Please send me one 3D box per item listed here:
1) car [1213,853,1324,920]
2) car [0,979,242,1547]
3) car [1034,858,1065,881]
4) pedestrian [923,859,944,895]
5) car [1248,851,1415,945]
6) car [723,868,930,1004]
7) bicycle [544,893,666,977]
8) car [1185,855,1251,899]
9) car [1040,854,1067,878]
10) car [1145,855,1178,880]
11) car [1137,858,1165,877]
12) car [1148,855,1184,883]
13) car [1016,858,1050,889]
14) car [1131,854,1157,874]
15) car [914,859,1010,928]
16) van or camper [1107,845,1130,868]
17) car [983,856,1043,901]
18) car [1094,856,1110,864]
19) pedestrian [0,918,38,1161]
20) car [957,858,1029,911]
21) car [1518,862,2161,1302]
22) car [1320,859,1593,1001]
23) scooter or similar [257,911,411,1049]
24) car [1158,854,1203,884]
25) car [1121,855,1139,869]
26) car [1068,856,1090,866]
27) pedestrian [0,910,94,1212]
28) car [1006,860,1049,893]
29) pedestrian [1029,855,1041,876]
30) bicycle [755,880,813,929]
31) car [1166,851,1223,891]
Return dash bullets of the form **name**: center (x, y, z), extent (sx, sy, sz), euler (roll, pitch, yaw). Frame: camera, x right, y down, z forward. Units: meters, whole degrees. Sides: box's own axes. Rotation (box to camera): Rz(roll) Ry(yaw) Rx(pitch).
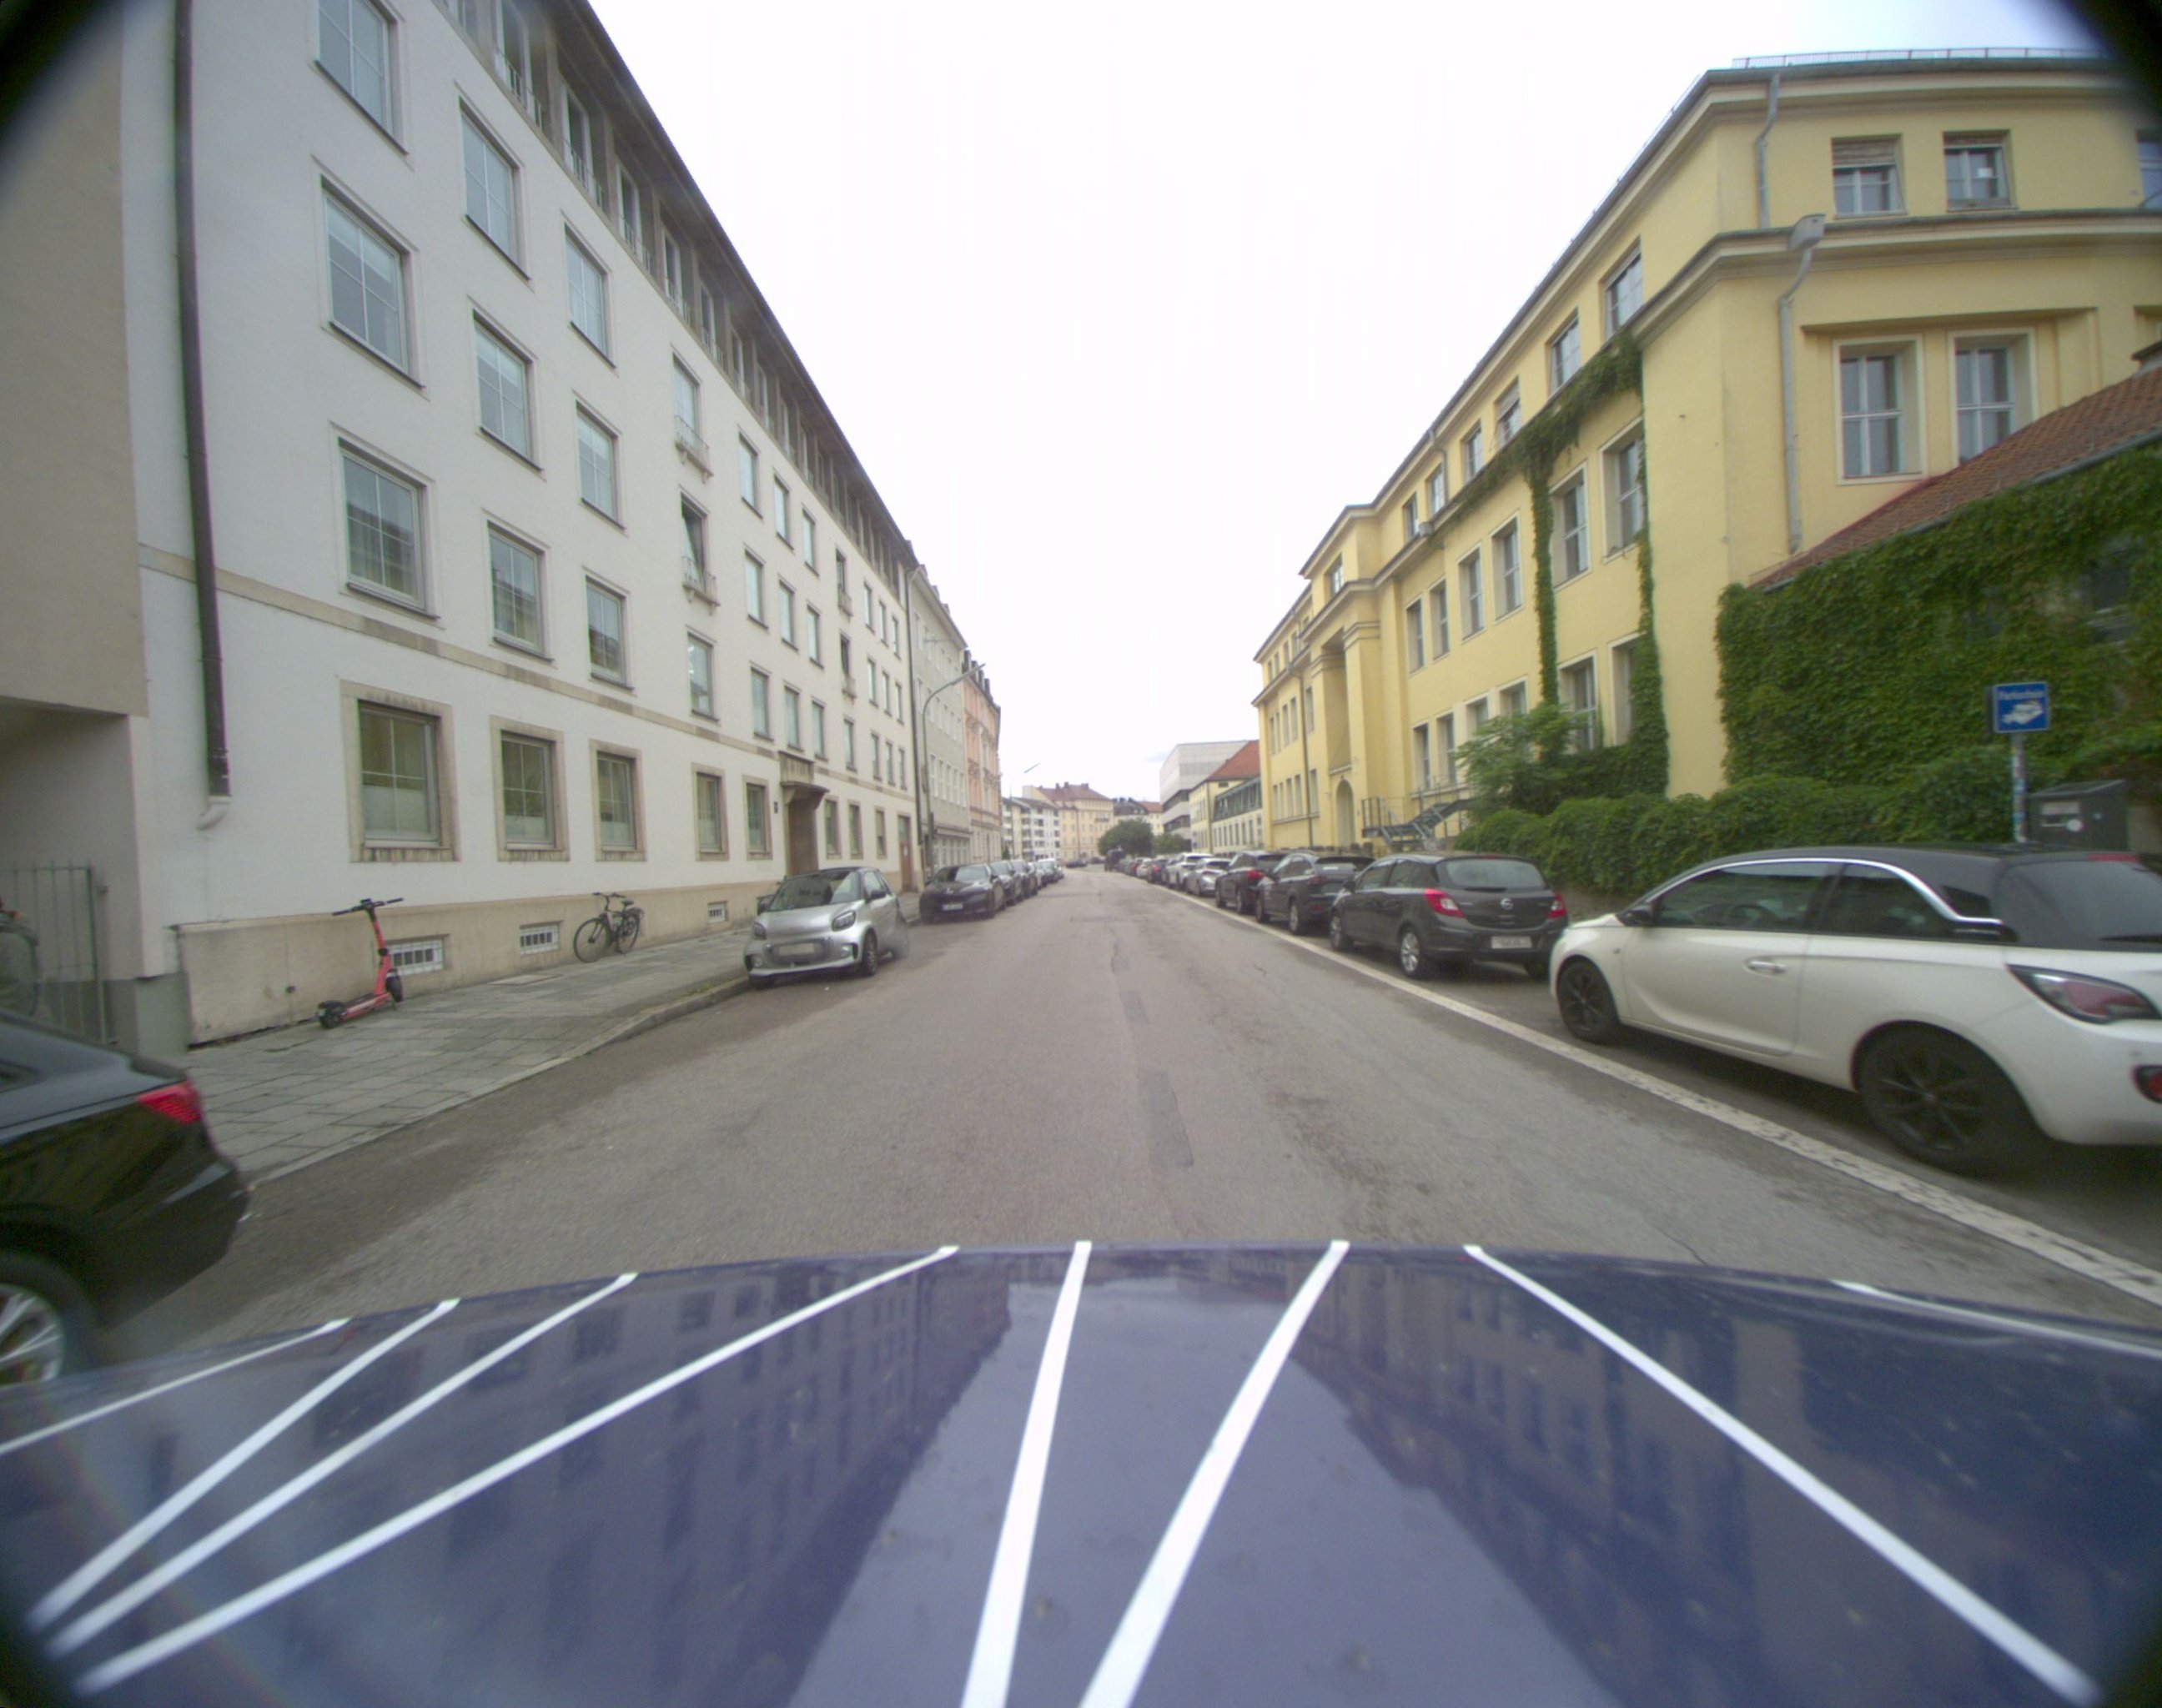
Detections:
- **car**: center (4.714, 0.759, 19.723), extent (1.786, 1.529, 4.194), euler (1, 0, -1)
- **car**: center (-3.774, 1.222, 0.318), extent (1.801, 1.412, 4.482), euler (-6, 0, -2)
- **car**: center (-2.068, 1.035, 51.685), extent (1.696, 1.443, 4.083), euler (-2, 0, 3)
- **pedestrian**: center (-6.812, 1.043, 35.069), extent (0.736, 1.616, 0.828), euler (-1, 0, 2)
- **car**: center (4.593, 0.735, 14.636), extent (1.786, 1.529, 4.148), euler (0, 0, -1)
- **car**: center (-3.669, 1.097, 11.745), extent (1.676, 1.526, 3.881), euler (-6, 0, 1)
- **bicycle**: center (-7.769, 1.280, 12.527), extent (0.660, 1.156, 2.028), euler (-2, 0, 1)
- **car**: center (4.967, 0.795, 28.065), extent (1.684, 1.417, 3.894), euler (2, 0, 0)
- **car**: center (-2.288, 1.008, 63.914), extent (1.845, 1.775, 4.895), euler (-5, 0, 1)
- **car**: center (5.165, 0.817, 49.110), extent (1.727, 1.518, 4.087), euler (1, 0, 1)
- **car**: center (5.152, 0.962, 56.344), extent (1.679, 1.390, 3.996), euler (0, 0, -1)
- **car**: center (4.816, 0.840, 43.509), extent (1.684, 1.487, 3.985), euler (0, 0, 1)
- **car**: center (-2.802, 1.101, 45.008), extent (1.696, 1.574, 4.082), euler (-5, 0, -1)
- **car**: center (5.062, 0.820, 61.852), extent (1.679, 1.557, 3.996), euler (0, 0, -1)
- **car**: center (-3.186, 1.003, 21.344), extent (1.860, 1.535, 4.815), euler (-5, 0, 0)
- **van or camper**: center (4.793, 0.341, 98.026), extent (2.142, 2.791, 5.569), euler (-2, 0, -6)
- **car**: center (-2.744, 0.957, 31.678), extent (1.782, 1.575, 4.330), euler (-4, 0, 3)
- **car**: center (5.230, 1.481, 189.783), extent (3.996, 1.849, 2.000), euler (-2, 0, 1)
- **pedestrian**: center (-7.340, 1.225, 4.858), extent (0.532, 1.575, 0.560), euler (0, 1, 1)
- **car**: center (-3.013, 1.008, 26.775), extent (1.783, 1.575, 4.272), euler (-5, 0, 2)
- **car**: center (4.475, 0.822, 4.524), extent (1.582, 1.484, 3.730), euler (0, 0, 0)
- **car**: center (4.486, 0.801, 9.799), extent (1.582, 1.447, 3.904), euler (0, 0, 0)
- **scooter or similar**: center (-7.948, 1.306, 8.146), extent (0.601, 1.246, 1.037), euler (-2, 4, -7)
- **car**: center (5.025, 0.735, 38.878), extent (1.684, 1.496, 3.973), euler (0, 0, -1)
- **car**: center (5.600, 0.864, 87.211), extent (1.700, 1.553, 3.867), euler (0, 0, -1)
- **car**: center (-0.388, 1.376, 153.509), extent (4.248, 1.849, 1.999), euler (-2, 0, -5)
- **pedestrian**: center (-6.293, 1.165, 4.283), extent (0.598, 1.644, 0.630), euler (0, 1, 1)
- **car**: center (-2.706, 1.105, 39.193), extent (1.696, 1.455, 4.083), euler (-5, 0, 2)
- **pedestrian**: center (-3.814, 0.938, 62.688), extent (0.863, 1.652, 0.647), euler (-3, 0, 1)
- **bicycle**: center (-7.676, 1.269, 19.735), extent (0.660, 1.120, 2.028), euler (-2, 0, 1)
- **car**: center (4.901, 0.714, 33.450), extent (1.684, 1.624, 4.356), euler (1, 0, -2)
